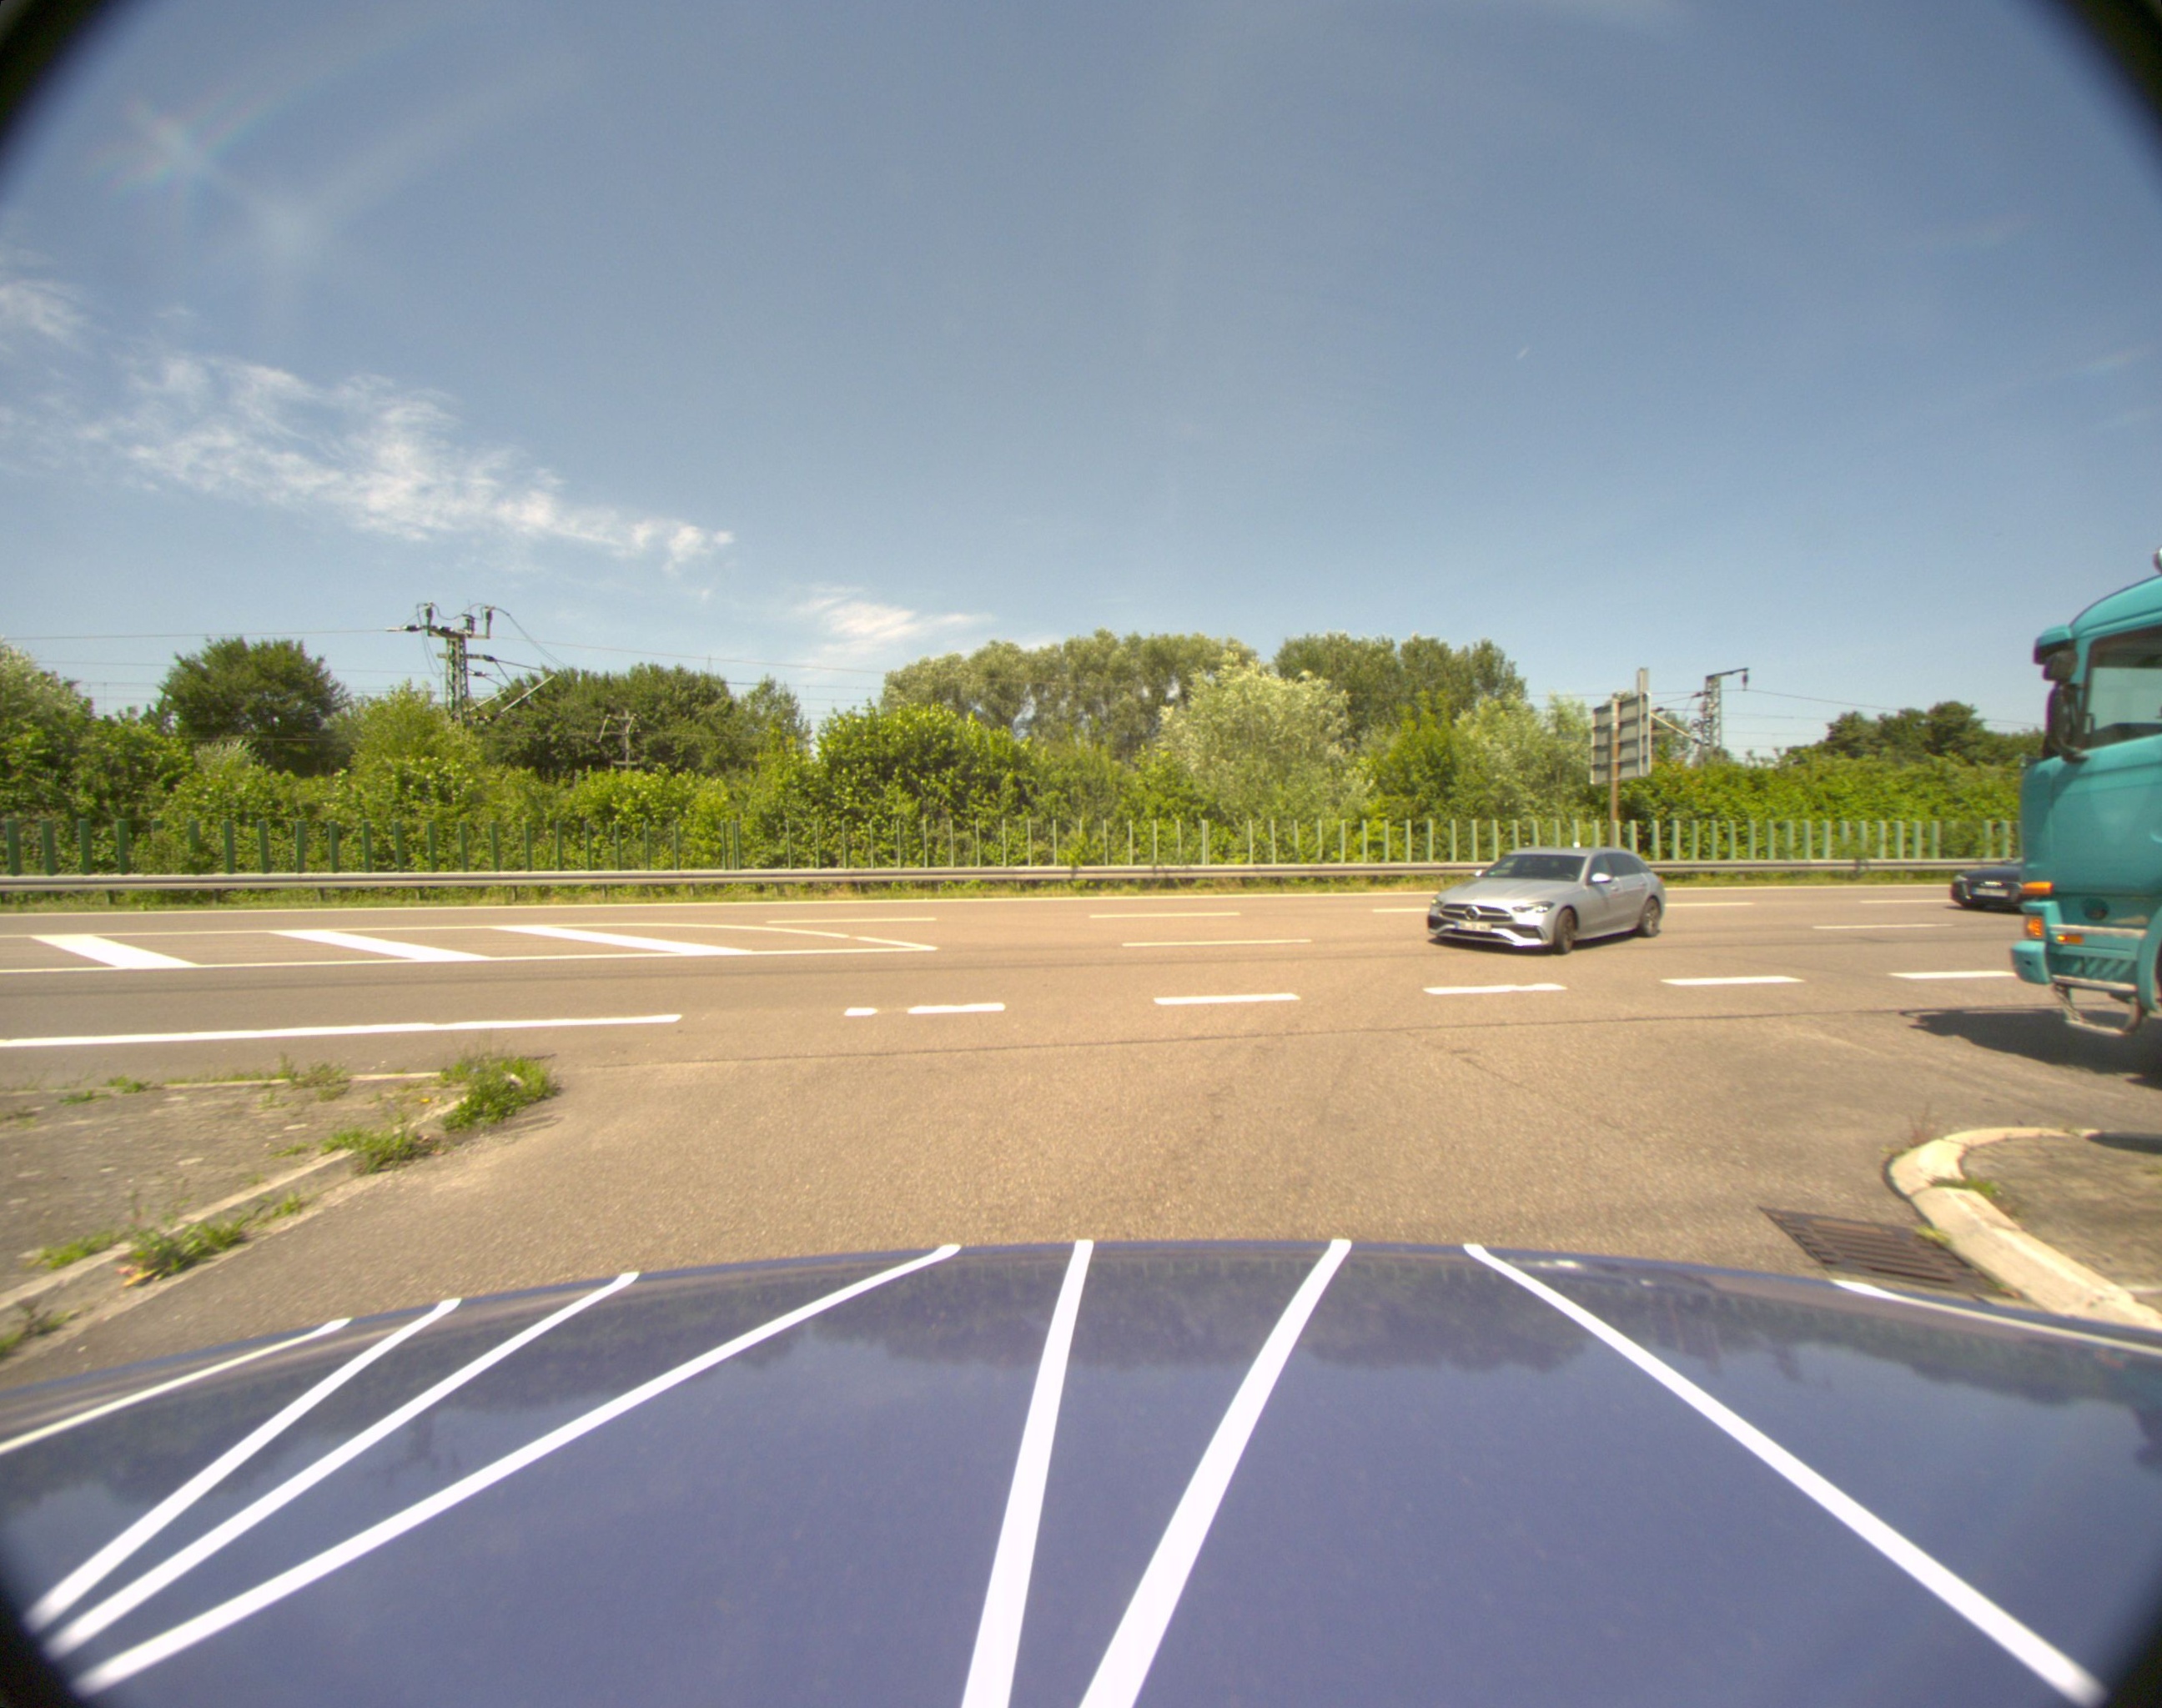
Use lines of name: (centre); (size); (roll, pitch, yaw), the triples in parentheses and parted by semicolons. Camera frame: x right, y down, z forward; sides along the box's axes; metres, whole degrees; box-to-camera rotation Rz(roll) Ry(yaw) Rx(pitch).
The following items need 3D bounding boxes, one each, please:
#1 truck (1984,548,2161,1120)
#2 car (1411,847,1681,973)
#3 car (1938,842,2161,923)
truck: (7.980, -0.120, 1.707); (2.609, 3.451, 7.607); (0, 0, -3)
car: (7.228, 0.713, 11.736); (4.155, 1.479, 1.820); (-2, 4, -31)
car: (20.420, 0.515, 15.578); (4.149, 1.432, 1.823); (-1, 4, -10)
